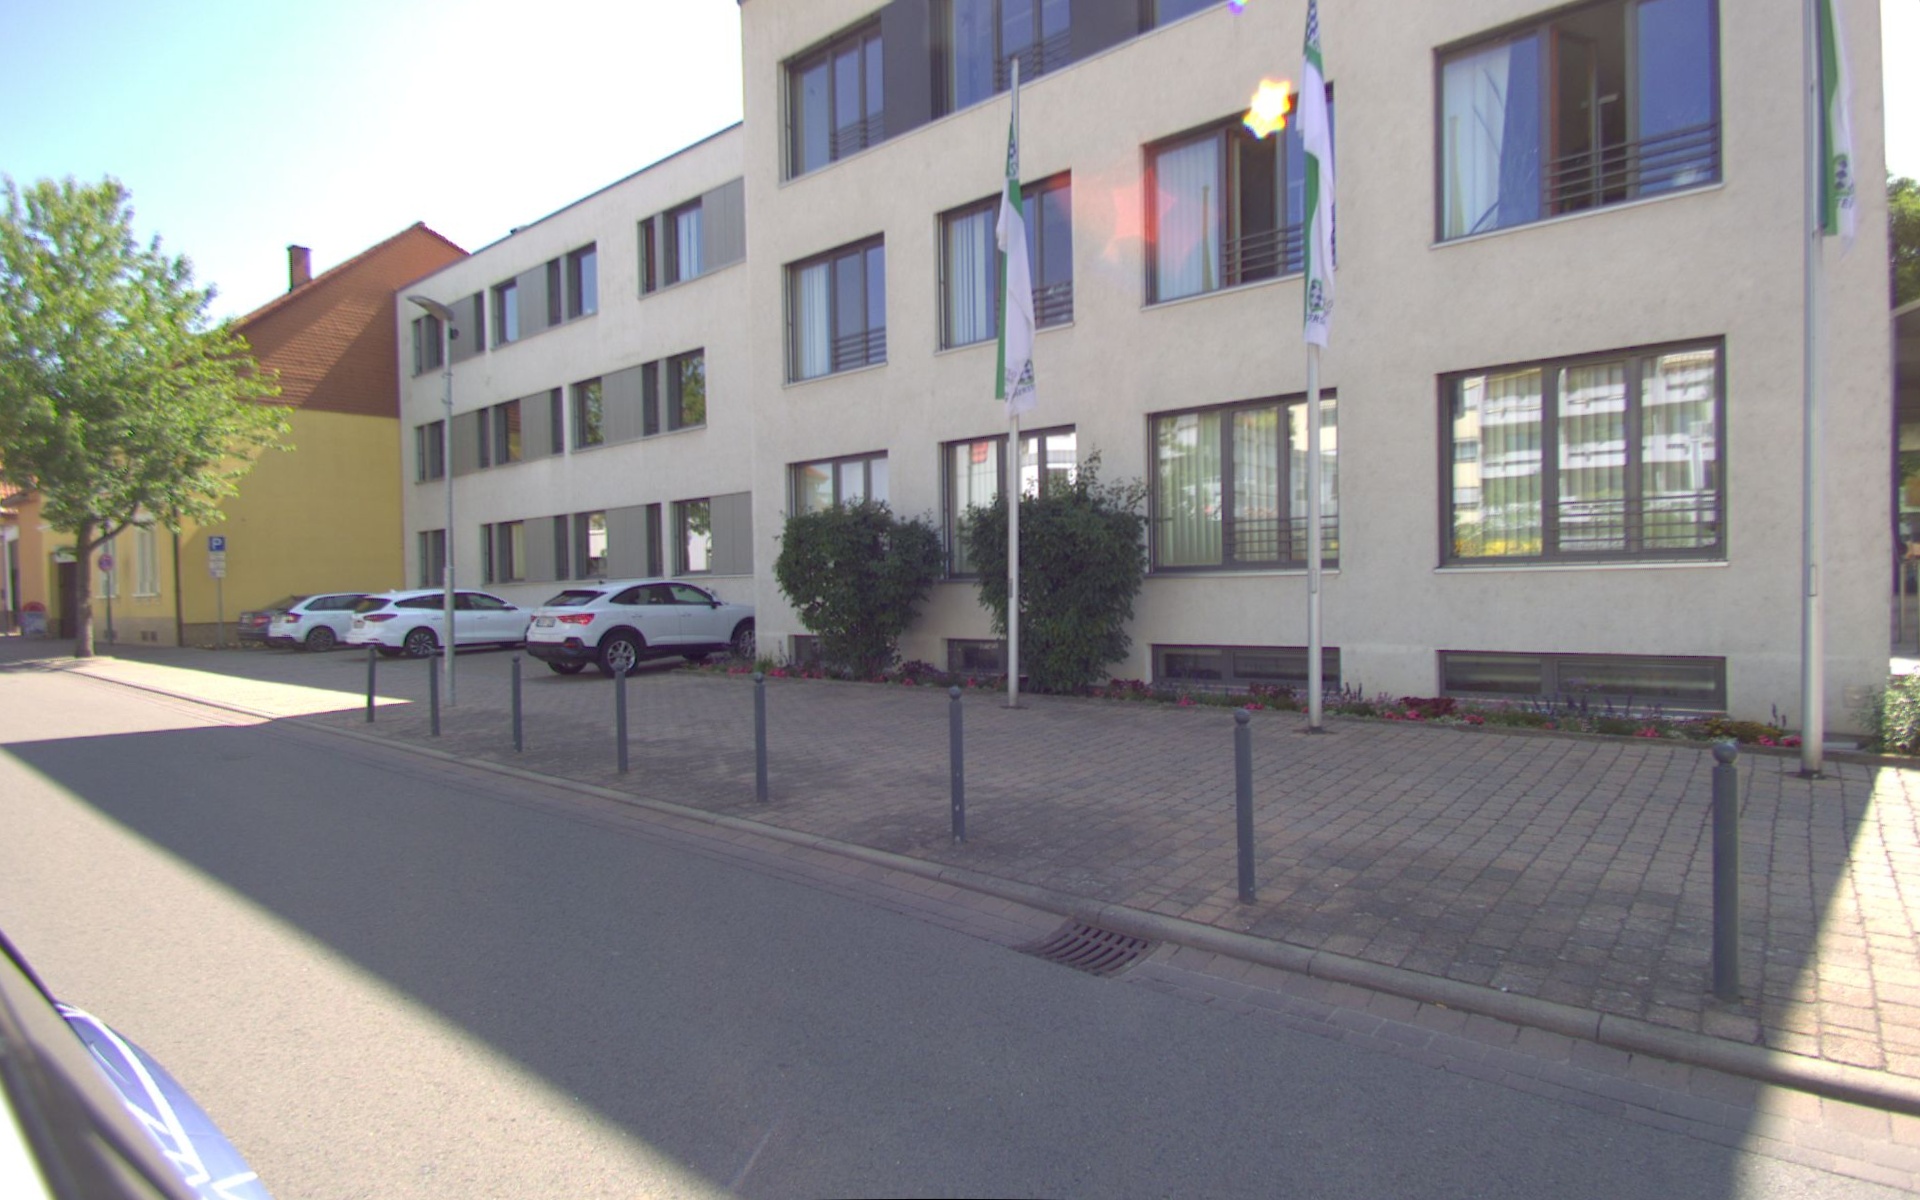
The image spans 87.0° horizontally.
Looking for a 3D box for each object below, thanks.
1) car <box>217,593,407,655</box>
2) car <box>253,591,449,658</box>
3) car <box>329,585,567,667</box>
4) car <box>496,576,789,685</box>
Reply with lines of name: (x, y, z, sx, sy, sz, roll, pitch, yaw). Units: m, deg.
car: (-17.749, 0.616, 27.866, 1.968, 1.442, 3.952, -2, 1, 36)
car: (-15.719, 0.597, 26.275, 1.806, 1.462, 3.947, -1, 1, 40)
car: (-11.647, 0.498, 23.281, 1.933, 1.565, 4.459, 1, 3, 40)
car: (-5.426, 0.432, 17.793, 2.145, 1.565, 4.463, -1, 2, 38)
